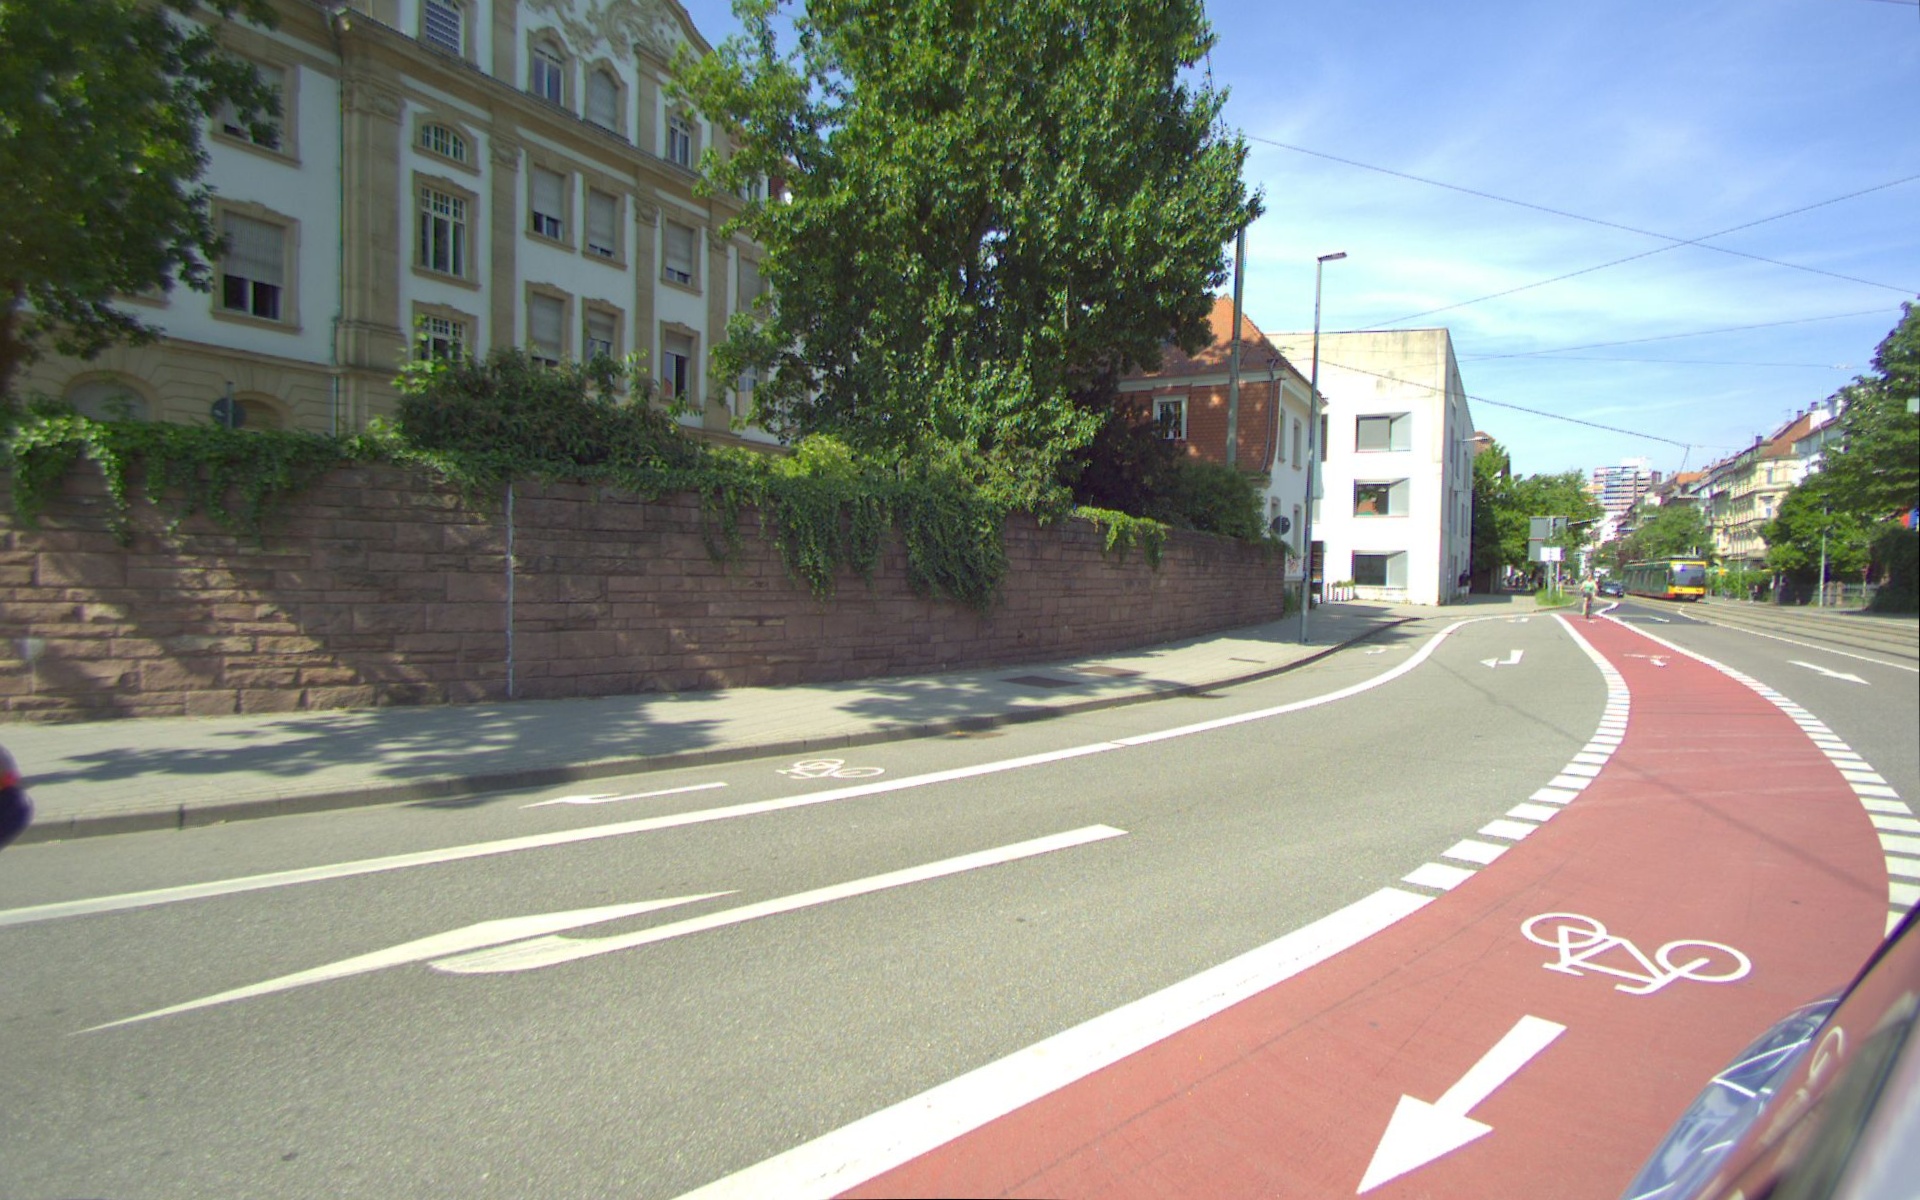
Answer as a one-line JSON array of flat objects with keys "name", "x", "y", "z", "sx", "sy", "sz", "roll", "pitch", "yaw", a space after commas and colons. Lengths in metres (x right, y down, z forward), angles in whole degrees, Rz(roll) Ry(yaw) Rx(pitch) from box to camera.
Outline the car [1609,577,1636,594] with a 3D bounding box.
[{"name": "car", "x": 56.726, "y": -1.268, "z": 86.648, "sx": 1.791, "sy": 1.393, "sz": 4.225, "roll": 3, "pitch": 3, "yaw": 34}]

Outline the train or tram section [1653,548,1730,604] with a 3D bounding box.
[{"name": "train or tram section", "x": 57.408, "y": -1.890, "z": 79.815, "sx": 3.189, "sy": 3.908, "sz": 14.436, "roll": 3, "pitch": 2, "yaw": 29}]

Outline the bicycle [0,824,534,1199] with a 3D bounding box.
[{"name": "bicycle", "x": -1.509, "y": 0.879, "z": 0.910, "sx": 1.993, "sy": 0.943, "sz": 0.597, "roll": 0, "pitch": 1, "yaw": -41}]

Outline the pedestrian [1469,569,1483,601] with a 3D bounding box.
[{"name": "pedestrian", "x": 28.576, "y": -0.835, "z": 56.028, "sx": 0.645, "sy": 1.728, "sz": 0.704, "roll": 2, "pitch": 2, "yaw": 29}]

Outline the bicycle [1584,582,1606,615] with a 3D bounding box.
[{"name": "bicycle", "x": 25.064, "y": -0.084, "z": 39.957, "sx": 0.681, "sy": 1.237, "sz": 2.162, "roll": 2, "pitch": 2, "yaw": 32}]

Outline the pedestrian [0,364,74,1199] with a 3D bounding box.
[{"name": "pedestrian", "x": -1.484, "y": 0.506, "z": 0.926, "sx": 0.996, "sy": 1.484, "sz": 0.584, "roll": 0, "pitch": 1, "yaw": -41}]

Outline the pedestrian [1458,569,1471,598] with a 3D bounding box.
[{"name": "pedestrian", "x": 28.013, "y": -0.945, "z": 56.200, "sx": 0.545, "sy": 1.587, "sz": 0.922, "roll": 2, "pitch": 2, "yaw": 29}]

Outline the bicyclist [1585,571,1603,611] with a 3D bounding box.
[{"name": "bicyclist", "x": 25.016, "y": -0.367, "z": 39.915, "sx": 0.584, "sy": 1.567, "sz": 0.921, "roll": 0, "pitch": 0, "yaw": 33}]
